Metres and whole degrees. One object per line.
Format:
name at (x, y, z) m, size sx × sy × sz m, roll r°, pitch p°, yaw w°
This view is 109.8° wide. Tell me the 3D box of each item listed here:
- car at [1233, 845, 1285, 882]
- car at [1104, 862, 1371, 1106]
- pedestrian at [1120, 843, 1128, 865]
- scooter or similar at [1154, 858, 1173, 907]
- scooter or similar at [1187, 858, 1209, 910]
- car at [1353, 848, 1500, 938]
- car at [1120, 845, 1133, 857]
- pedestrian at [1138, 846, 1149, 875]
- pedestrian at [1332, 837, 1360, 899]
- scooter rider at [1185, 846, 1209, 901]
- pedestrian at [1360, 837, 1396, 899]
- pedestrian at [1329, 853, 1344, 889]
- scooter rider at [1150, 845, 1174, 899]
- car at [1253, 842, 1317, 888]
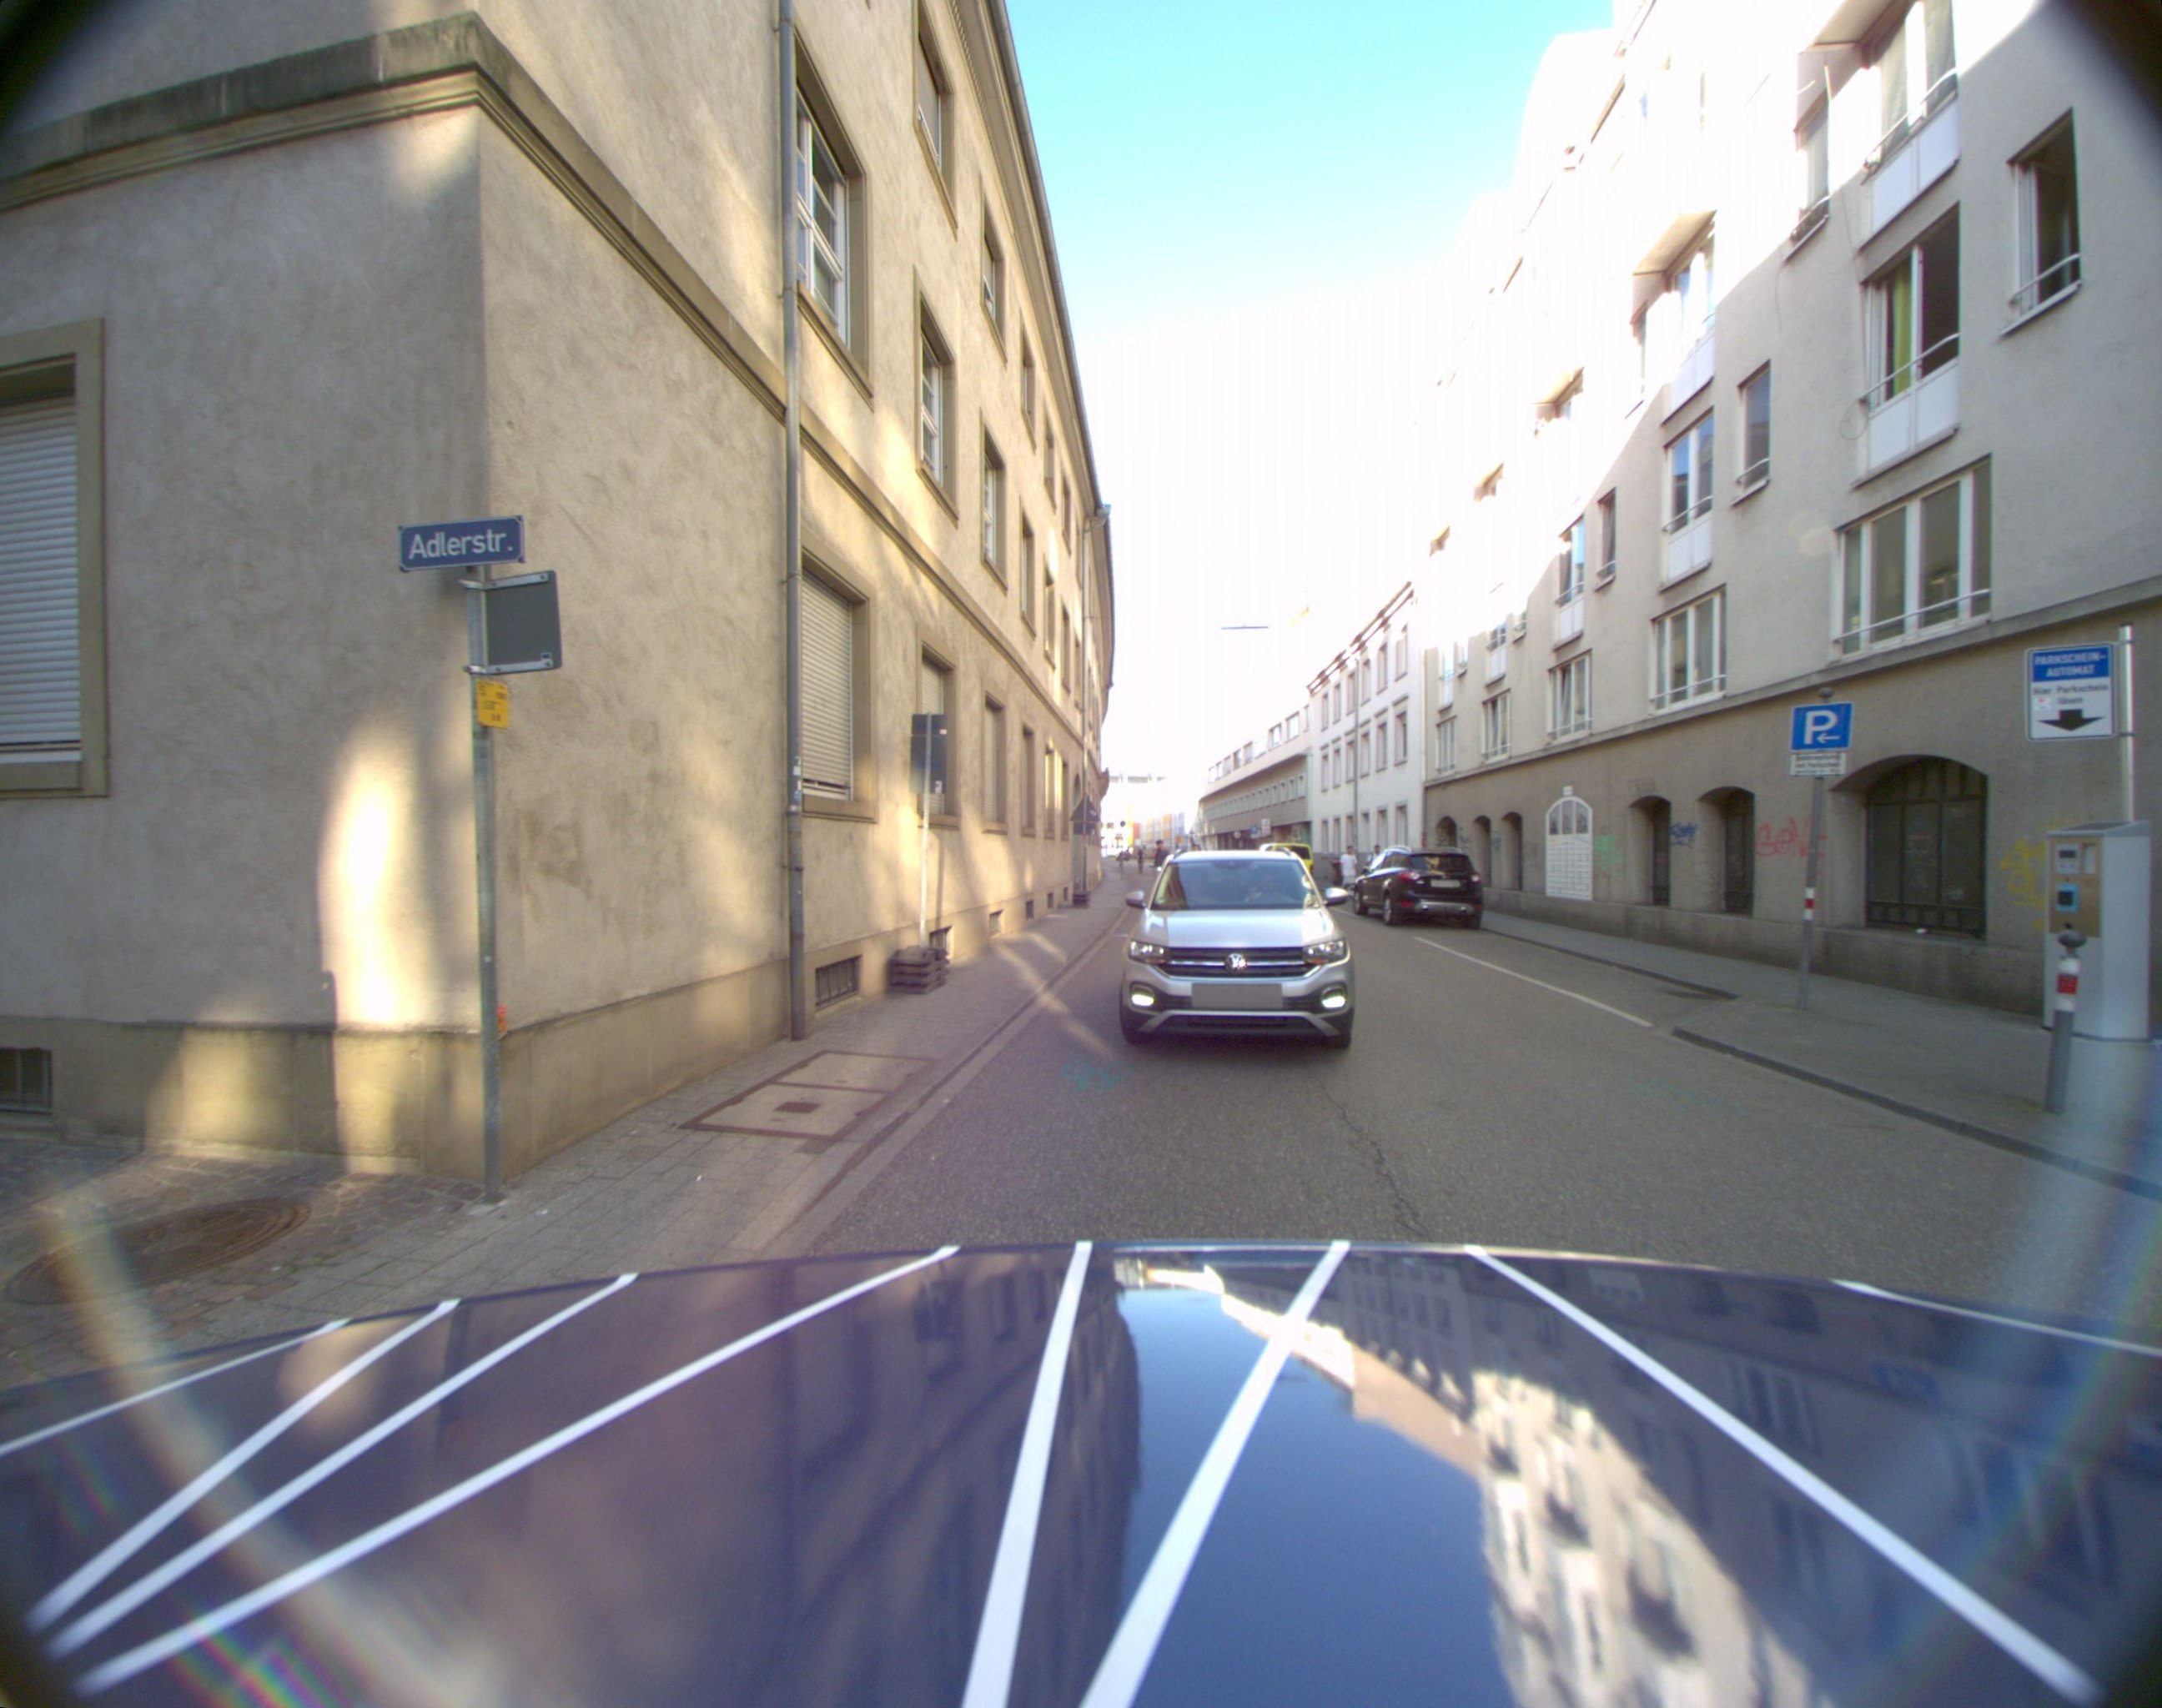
car at (9.126, 0.429, 39.207) m, size 1.887 × 1.758 × 4.000 m, roll 2°, pitch 1°, yaw 3°
car at (1.306, 0.890, 7.109) m, size 1.761 × 1.537 × 4.002 m, roll -1°, pitch 1°, yaw 8°
pedestrian at (3.953, -0.008, 69.778) m, size 0.715 × 2.002 × 0.699 m, roll 0°, pitch 1°, yaw 6°
scooter or similar at (2.457, 0.814, 22.602) m, size 0.523 × 1.388 × 1.556 m, roll 0°, pitch 1°, yaw 7°
scooter or similar at (3.249, 0.802, 21.225) m, size 0.550 × 1.388 × 1.556 m, roll 0°, pitch 1°, yaw 7°
car at (7.483, 0.743, 16.916) m, size 1.887 × 1.694 × 4.002 m, roll 2°, pitch 1°, yaw 8°
car at (7.058, -0.472, 118.283) m, size 1.888 × 1.863 × 4.000 m, roll 2°, pitch 1°, yaw 1°
pedestrian at (4.242, 0.436, 51.624) m, size 0.715 × 2.002 × 0.699 m, roll 0°, pitch 1°, yaw 6°
pedestrian at (8.750, 0.459, 25.094) m, size 0.715 × 2.002 × 0.699 m, roll 0°, pitch 1°, yaw 6°
scooter rider at (3.287, 0.548, 21.527) m, size 0.591 × 1.499 × 0.600 m, roll -2°, pitch 1°, yaw 6°
pedestrian at (9.796, 0.448, 25.078) m, size 0.936 × 2.002 × 0.699 m, roll 0°, pitch 1°, yaw 5°
pedestrian at (10.551, 0.697, 31.380) m, size 0.556 × 1.439 × 0.583 m, roll 0°, pitch 1°, yaw 16°
scooter rider at (2.425, 0.534, 22.772) m, size 0.647 × 1.584 × 0.600 m, roll -2°, pitch 1°, yaw 6°
car at (8.858, 0.429, 33.279) m, size 1.887 × 1.863 × 4.000 m, roll -1°, pitch 1°, yaw 3°
